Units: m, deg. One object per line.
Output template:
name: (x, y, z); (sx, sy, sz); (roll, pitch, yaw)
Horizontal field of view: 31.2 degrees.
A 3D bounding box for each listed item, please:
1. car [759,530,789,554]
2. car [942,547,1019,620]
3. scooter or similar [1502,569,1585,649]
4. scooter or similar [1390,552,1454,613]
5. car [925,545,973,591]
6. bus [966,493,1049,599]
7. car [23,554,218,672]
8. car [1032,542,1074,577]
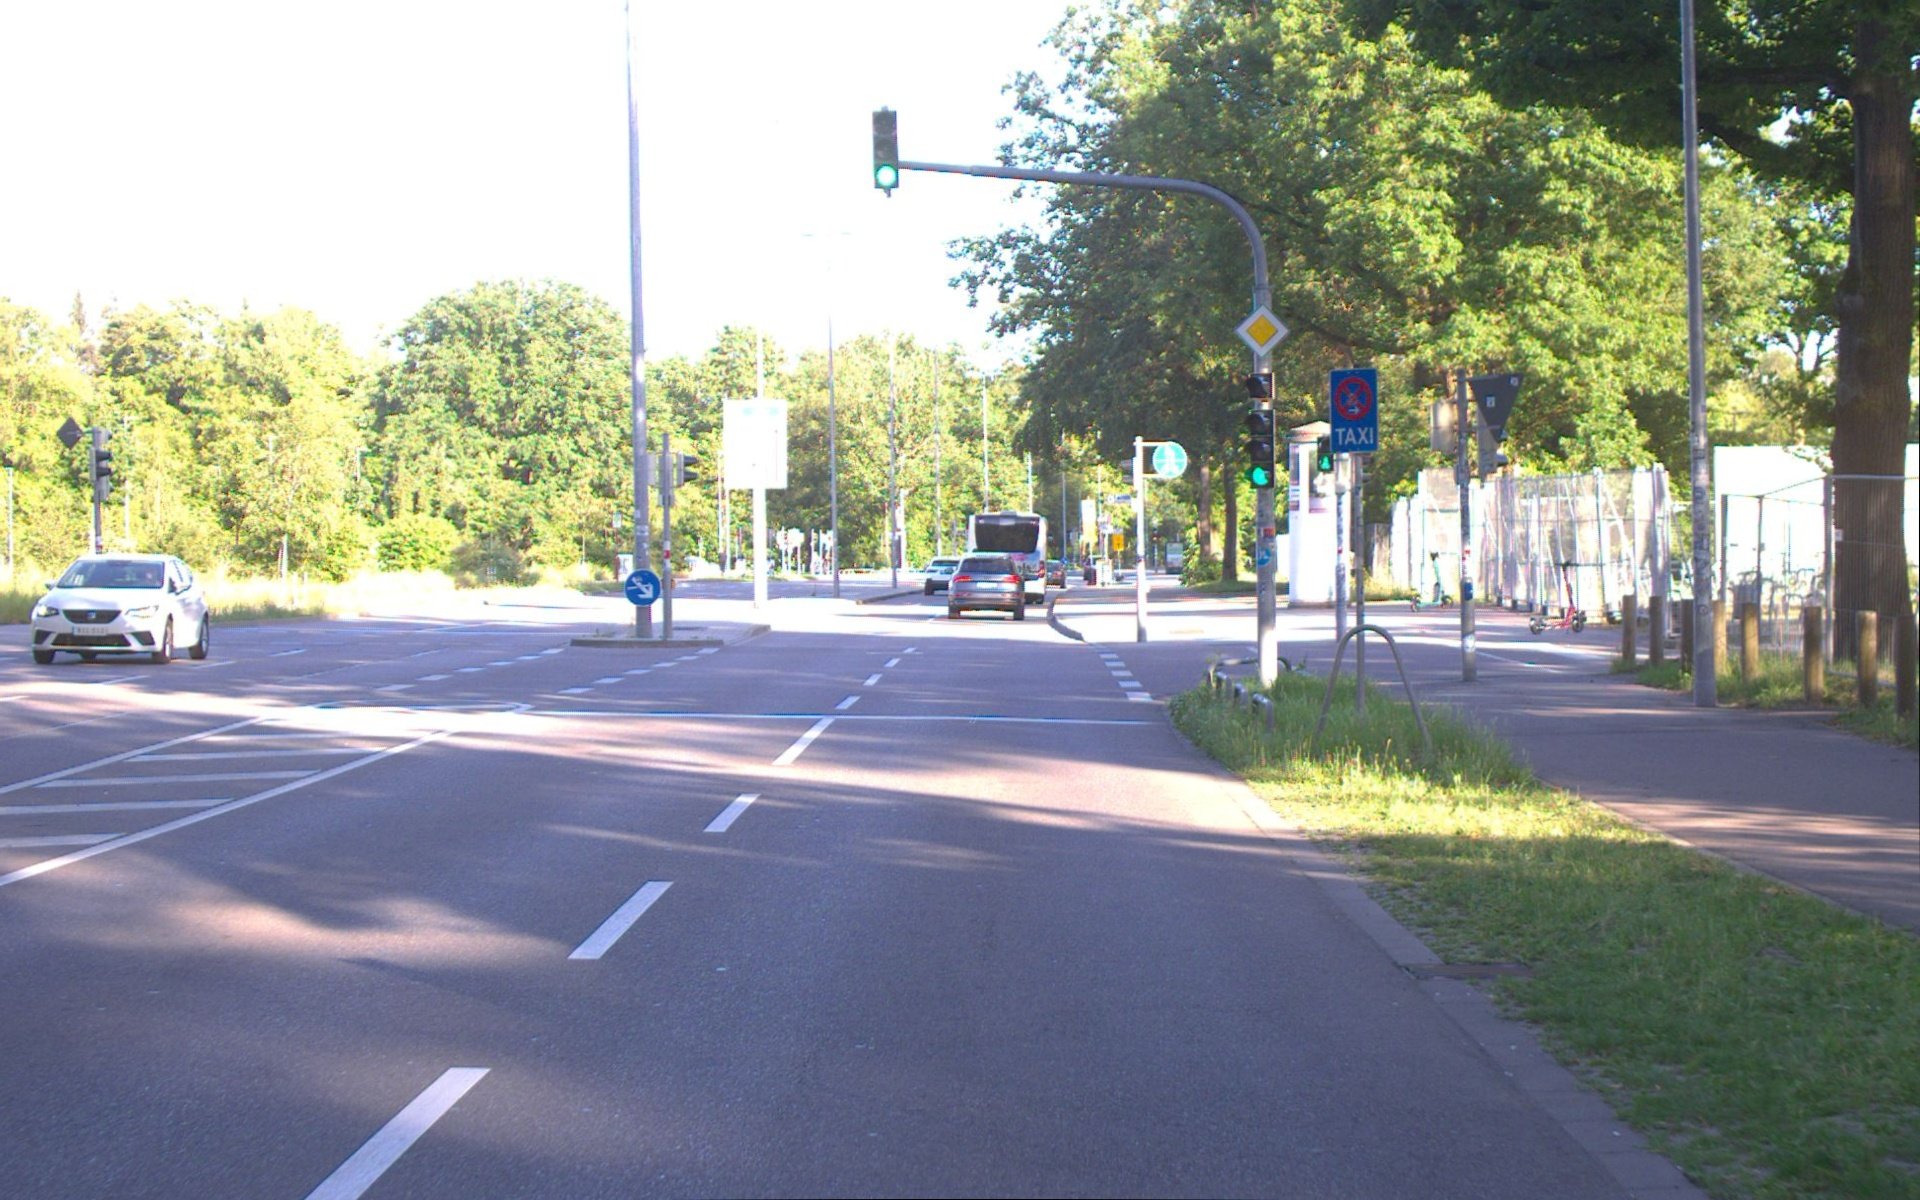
car: (-13.190, -4.108, 243.511); (1.863, 1.678, 3.773); (-1, 1, 0)
car: (0.512, -0.422, 85.654); (1.880, 1.759, 4.000); (0, 1, 0)
scooter or similar: (9.673, 0.145, 56.970); (1.357, 1.283, 0.603); (0, 4, -42)
scooter or similar: (9.667, -0.364, 71.885); (0.569, 1.252, 1.596); (0, 0, 39)
car: (-0.415, -1.282, 136.269); (1.880, 1.759, 4.000); (0, 1, 0)
bus: (1.529, -1.800, 114.421); (2.605, 3.357, 7.976); (1, 1, 0)
car: (-11.110, 0.141, 45.720); (1.710, 1.459, 4.101); (2, 1, -2)
car: (4.588, -2.021, 169.986); (1.863, 1.678, 3.772); (-1, 1, 4)
